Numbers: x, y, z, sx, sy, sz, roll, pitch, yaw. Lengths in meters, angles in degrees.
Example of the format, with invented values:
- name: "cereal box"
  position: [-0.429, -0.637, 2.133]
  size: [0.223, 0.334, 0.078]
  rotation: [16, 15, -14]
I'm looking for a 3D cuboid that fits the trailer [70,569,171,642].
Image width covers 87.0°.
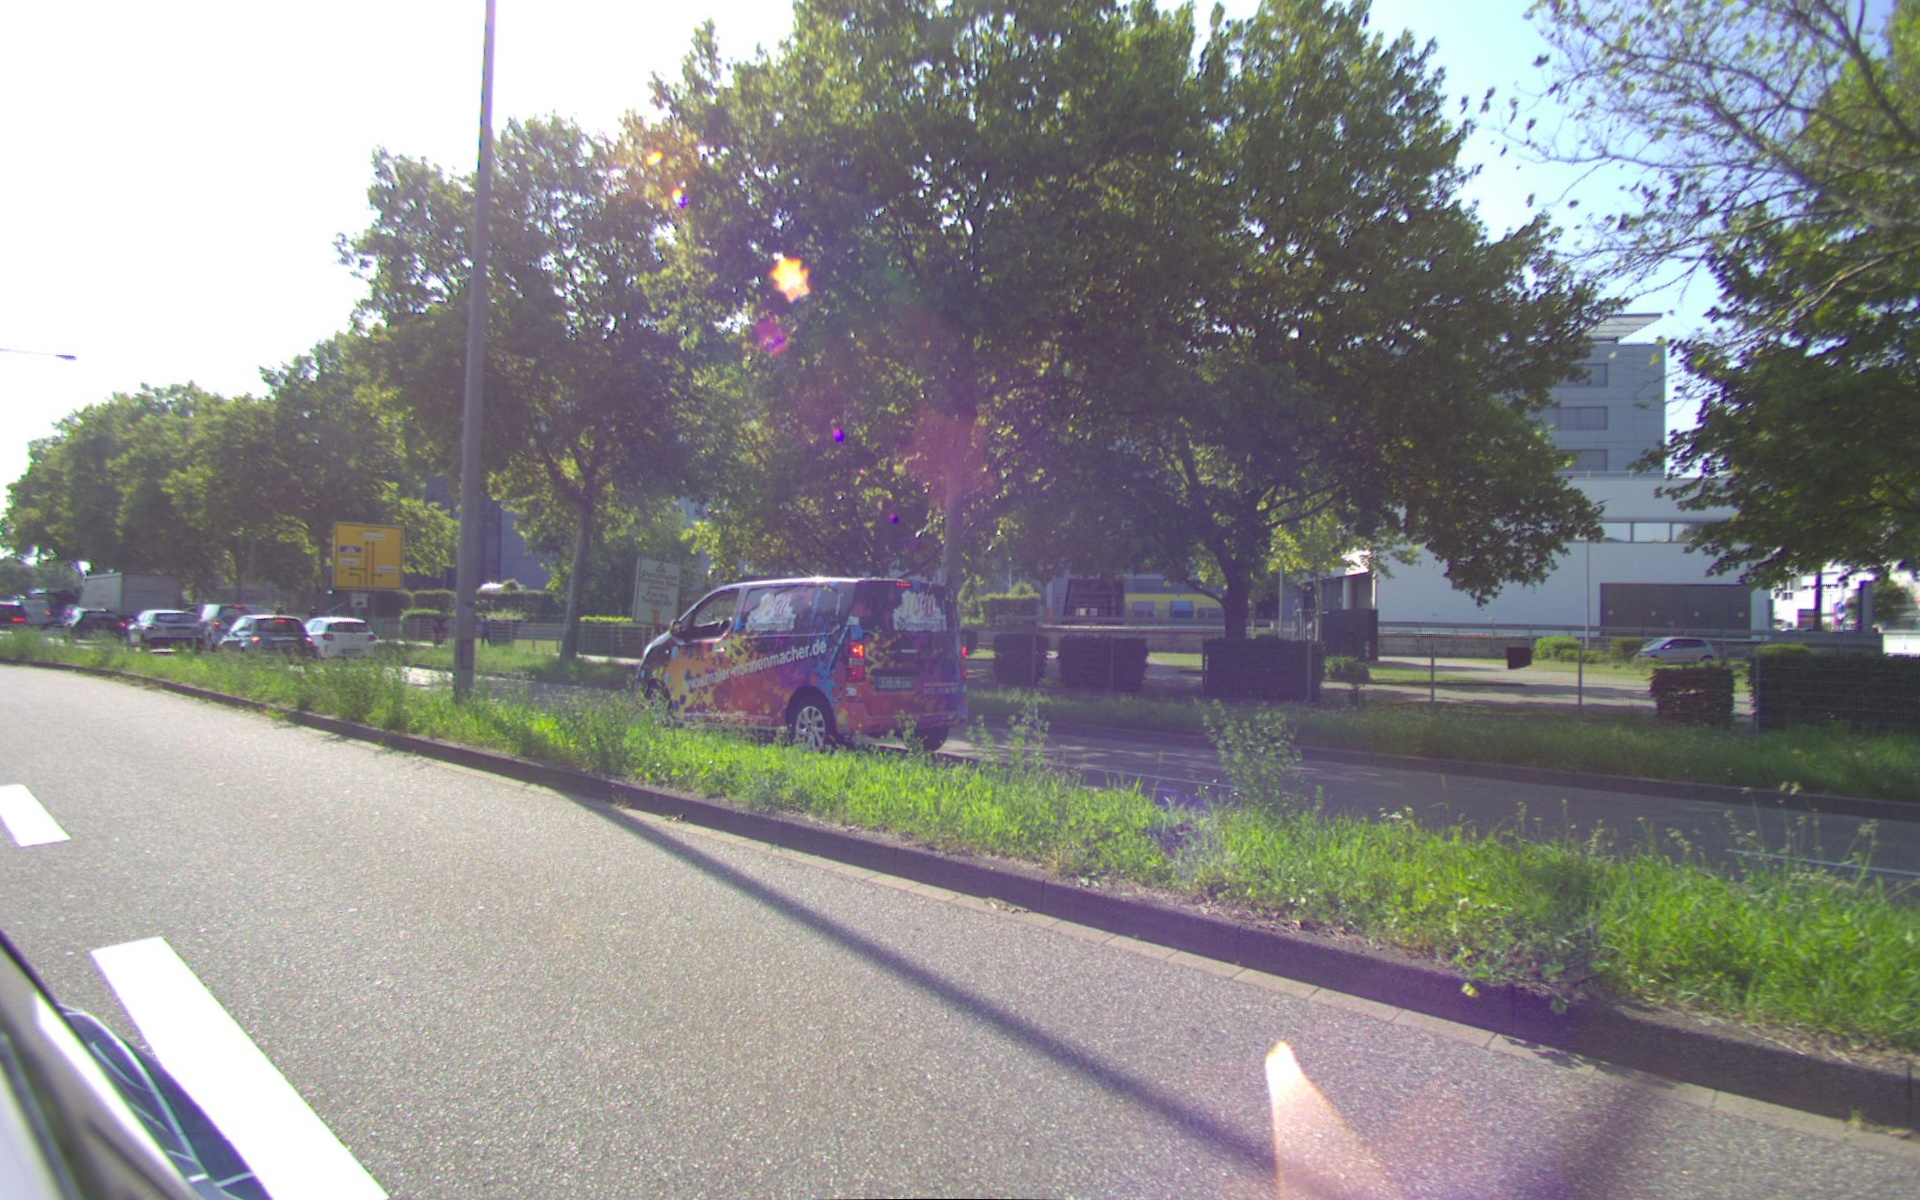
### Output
- name: "trailer"
  position: [-49.663, 0.396, 59.651]
  size: [13.811, 3.851, 2.604]
  rotation: [-1, -3, 43]

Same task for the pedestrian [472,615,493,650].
- name: "pedestrian"
  position: [-23.020, 1.569, 48.761]
  size: [0.934, 1.665, 0.610]
  rotation: [-1, -1, 43]

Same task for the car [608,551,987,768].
- name: "car"
  position: [-2.045, 0.622, 11.810]
  size: [4.565, 2.043, 1.911]
  rotation: [-1, -3, 42]

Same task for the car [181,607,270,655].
- name: "car"
  position: [-30.369, 1.268, 41.782]
  size: [4.969, 1.873, 1.963]
  rotation: [-1, -4, 43]

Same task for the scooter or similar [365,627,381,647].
- name: "scooter or similar"
  position: [-35.553, 2.237, 61.307]
  size: [1.381, 1.136, 0.503]
  rotation: [-1, -1, 44]

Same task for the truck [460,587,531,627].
- name: "truck"
  position: [-34.593, 0.551, 75.593]
  size: [2.211, 2.882, 5.896]
  rotation: [0, -1, 5]

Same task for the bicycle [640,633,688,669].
- name: "bicycle"
  position: [-9.626, 1.650, 32.851]
  size: [1.800, 1.116, 0.641]
  rotation: [-1, -3, 42]

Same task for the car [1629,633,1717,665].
- name: "car"
  position: [33.720, 2.323, 47.900]
  size: [3.089, 1.447, 1.378]
  rotation: [0, -1, 8]

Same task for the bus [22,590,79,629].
- name: "bus"
  position: [-77.275, 0.836, 85.858]
  size: [12.313, 3.103, 2.562]
  rotation: [-1, -1, 43]

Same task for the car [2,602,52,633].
- name: "car"
  position: [-62.358, 1.180, 67.622]
  size: [5.035, 1.968, 1.972]
  rotation: [-1, -3, 42]

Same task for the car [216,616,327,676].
- name: "car"
  position: [-18.354, 1.175, 26.943]
  size: [3.491, 1.497, 1.658]
  rotation: [-1, -1, 42]

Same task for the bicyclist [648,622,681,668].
- name: "bicyclist"
  position: [-9.596, 1.455, 32.851]
  size: [0.840, 1.450, 0.641]
  rotation: [-1, -3, 42]

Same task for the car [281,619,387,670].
- name: "car"
  position: [-20.073, 1.389, 32.408]
  size: [3.998, 1.493, 1.772]
  rotation: [-1, -2, 41]

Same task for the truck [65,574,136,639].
- name: "truck"
  position: [-54.599, 0.454, 64.246]
  size: [5.891, 3.849, 2.579]
  rotation: [-1, -3, 43]

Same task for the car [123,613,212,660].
- name: "car"
  position: [-28.780, 1.300, 36.708]
  size: [4.108, 1.606, 1.859]
  rotation: [-1, -2, 42]

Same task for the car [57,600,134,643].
- name: "car"
  position: [-38.380, 0.942, 44.901]
  size: [4.306, 1.773, 1.972]
  rotation: [-1, -4, 42]

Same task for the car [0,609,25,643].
- name: "car"
  position: [-51.832, 1.367, 54.195]
  size: [4.474, 1.773, 1.973]
  rotation: [0, -4, 40]

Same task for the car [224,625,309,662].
- name: "car"
  position: [-25.262, 1.568, 36.817]
  size: [4.097, 1.272, 1.770]
  rotation: [-1, -3, 45]
